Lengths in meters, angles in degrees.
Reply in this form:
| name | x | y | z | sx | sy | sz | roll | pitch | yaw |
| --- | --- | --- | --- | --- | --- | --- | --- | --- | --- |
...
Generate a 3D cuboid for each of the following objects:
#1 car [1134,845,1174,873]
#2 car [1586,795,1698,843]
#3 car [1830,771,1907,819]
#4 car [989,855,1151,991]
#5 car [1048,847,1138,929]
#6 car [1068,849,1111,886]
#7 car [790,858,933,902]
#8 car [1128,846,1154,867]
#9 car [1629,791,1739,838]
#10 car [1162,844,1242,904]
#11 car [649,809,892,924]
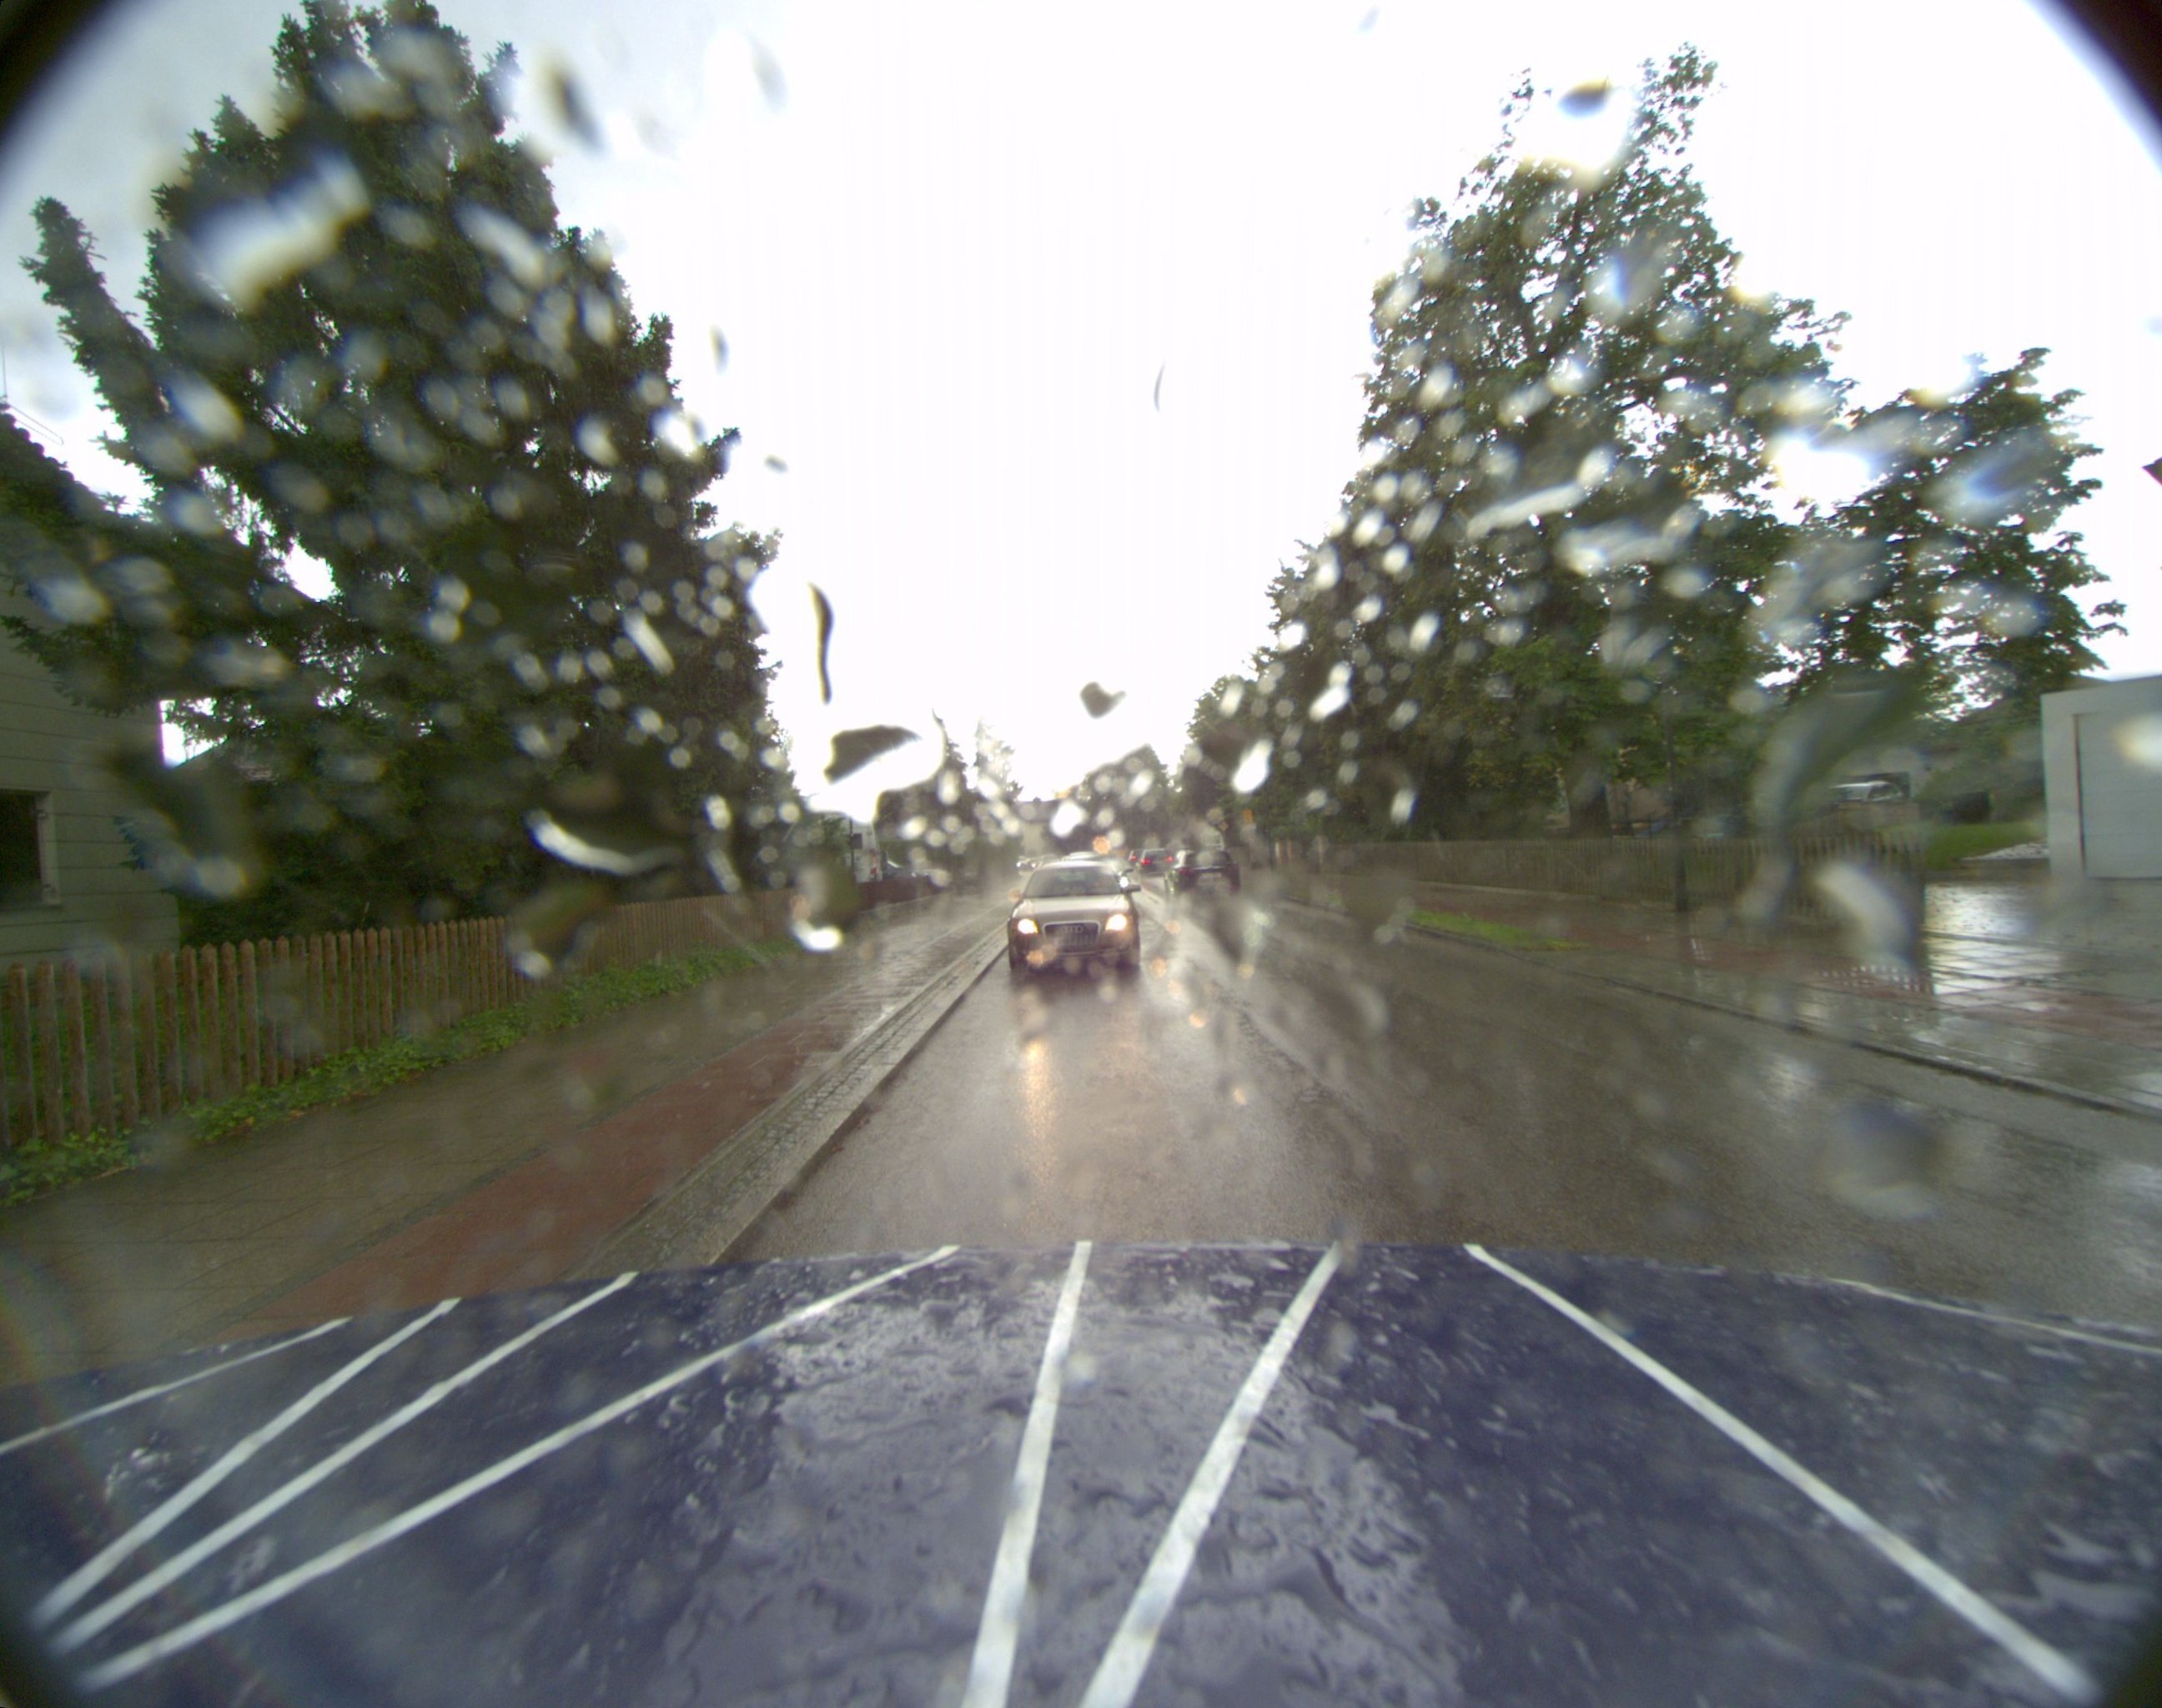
| name | x | y | z | sx | sy | sz | roll | pitch | yaw |
| --- | --- | --- | --- | --- | --- | --- | --- | --- | --- |
| car | 4.127 | 0.244 | 43.680 | 1.785 | 1.457 | 4.374 | -4 | 1 | 0 |
| car | 26.111 | -1.594 | 35.458 | 1.845 | 1.792 | 3.649 | -6 | 0 | -33 |
| car | 40.668 | -3.014 | 39.233 | 3.857 | 2.281 | 1.782 | -3 | 1 | -29 |
| car | -0.106 | 0.837 | 11.232 | 1.872 | 1.512 | 4.188 | -3 | 1 | 1 |
| car | 0.298 | 0.739 | 19.420 | 1.872 | 1.603 | 4.960 | -5 | 1 | 1 |
| car | 0.416 | 0.597 | 37.383 | 1.872 | 1.512 | 4.960 | -5 | 1 | 1 |
| car | -7.374 | 0.856 | 25.911 | 4.443 | 1.413 | 1.829 | 0 | 1 | -7 |
| car | 4.709 | 0.180 | 59.805 | 1.712 | 1.457 | 4.000 | -4 | 1 | 1 |
| car | 28.925 | -1.869 | 36.536 | 1.845 | 1.792 | 3.649 | -6 | 0 | -33 |
| car | 3.446 | 0.517 | 22.301 | 1.642 | 1.512 | 4.188 | -3 | 0 | 1 |
| car | -7.624 | 0.281 | 19.220 | 5.321 | 2.712 | 1.998 | 0 | 1 | -9 |
